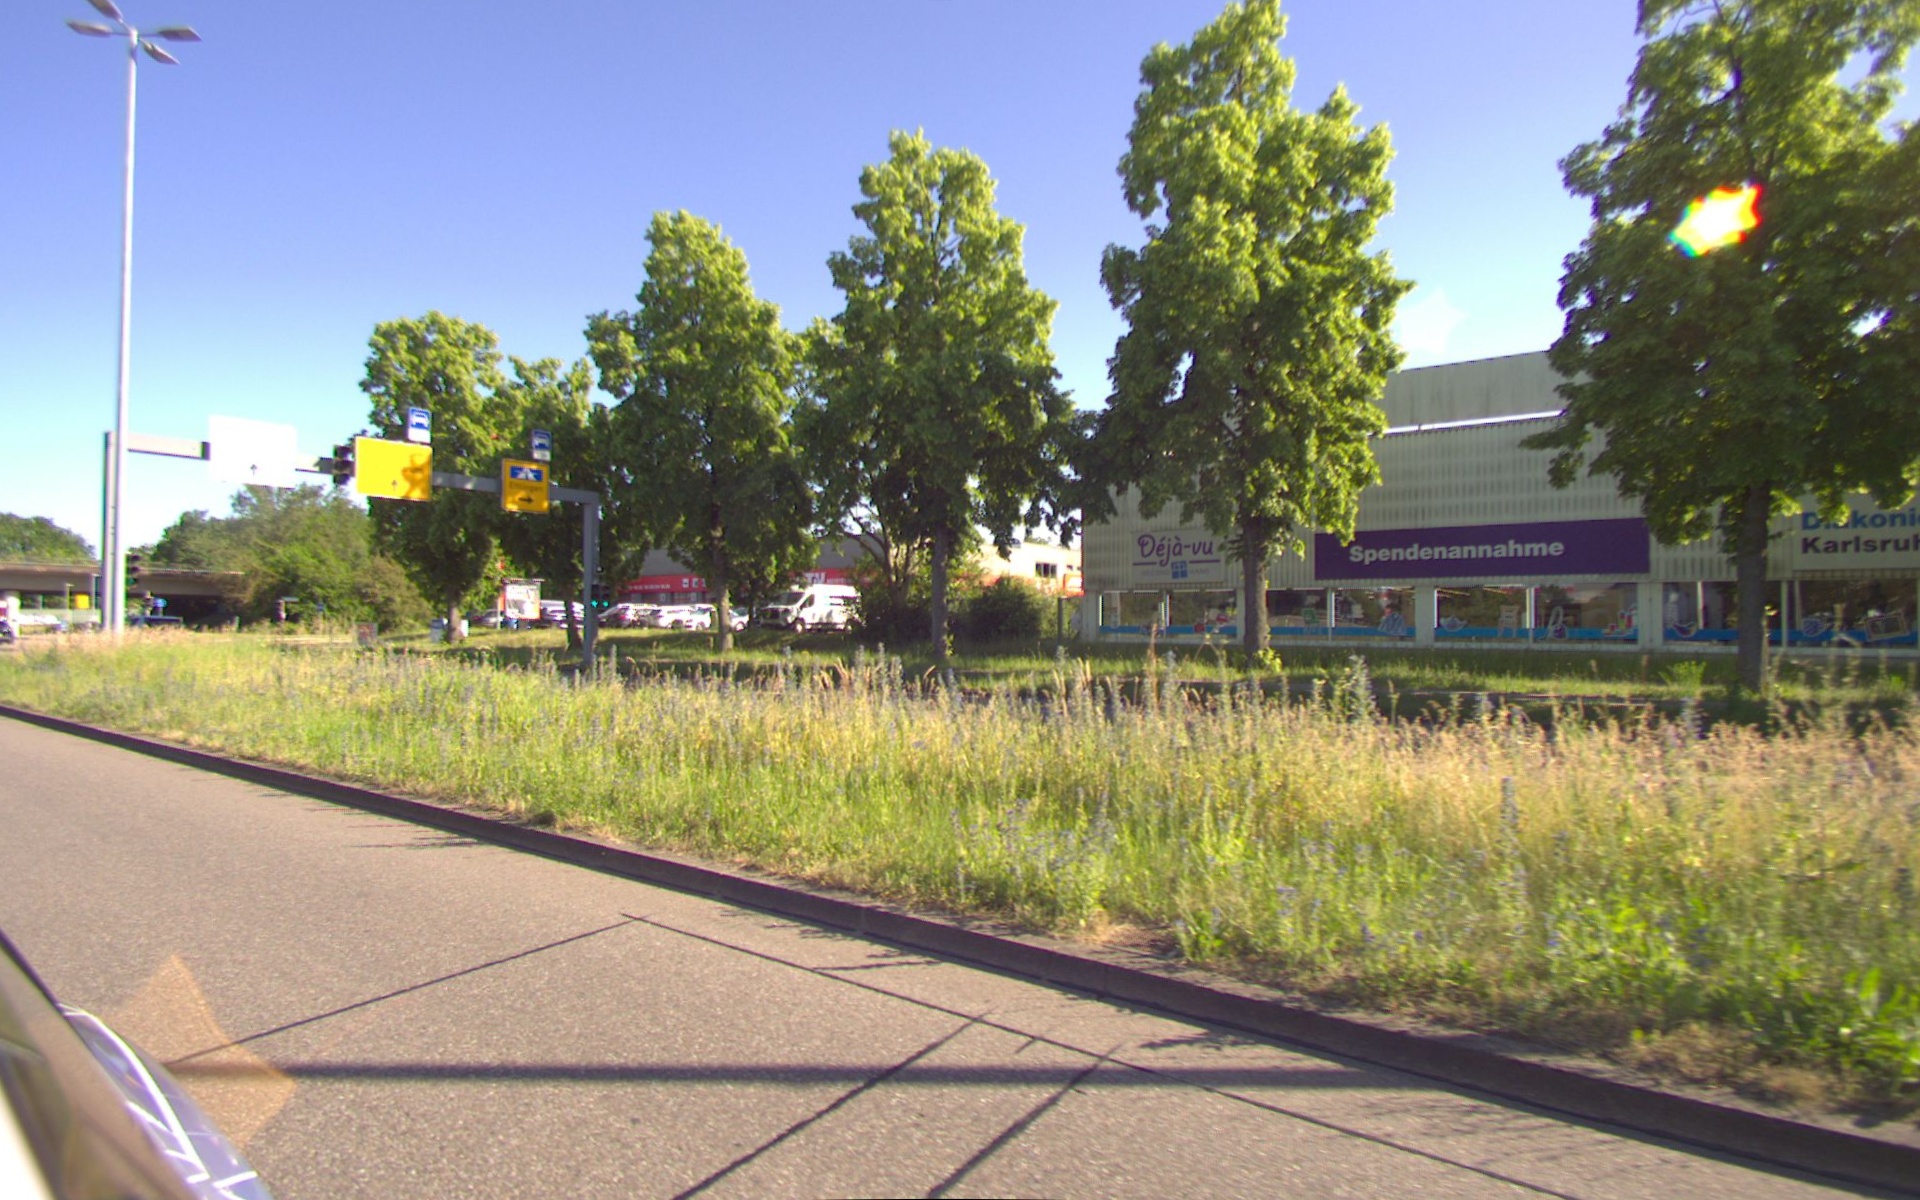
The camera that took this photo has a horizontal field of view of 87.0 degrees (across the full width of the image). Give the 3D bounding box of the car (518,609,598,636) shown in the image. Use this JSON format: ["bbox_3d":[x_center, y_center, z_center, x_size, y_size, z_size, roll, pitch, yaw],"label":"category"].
[{"bbox_3d":[-24.359,1.372,61.355,1.945,1.563,4.077,-1,-2,39],"label":"car"}]

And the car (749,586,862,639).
[{"bbox_3d":[-7.480,0.686,49.730,2.200,2.452,5.830,-1,-2,33],"label":"car"}]

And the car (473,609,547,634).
[{"bbox_3d":[-29.754,1.434,66.946,4.068,1.563,1.898,2,-3,-43],"label":"car"}]

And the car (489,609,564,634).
[{"bbox_3d":[-27.975,1.395,65.363,1.818,1.563,4.074,-1,-3,41],"label":"car"}]

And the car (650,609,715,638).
[{"bbox_3d":[-19.158,1.623,69.727,5.126,1.971,1.761,-1,-3,41],"label":"car"}]

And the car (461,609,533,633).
[{"bbox_3d":[-31.420,1.448,68.741,4.067,1.563,1.898,2,-3,-41],"label":"car"}]

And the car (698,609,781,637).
[{"bbox_3d":[-11.512,1.249,53.008,1.941,1.399,4.085,-1,-2,33],"label":"car"}]

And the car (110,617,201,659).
[{"bbox_3d":[-34.986,1.670,43.983,4.621,1.710,1.924,-1,-4,37],"label":"car"}]

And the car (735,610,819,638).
[{"bbox_3d":[-9.295,1.242,51.623,1.941,1.399,4.085,-1,-2,33],"label":"car"}]

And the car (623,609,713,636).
[{"bbox_3d":[-16.048,1.252,55.835,1.943,1.399,4.577,-1,-2,37],"label":"car"}]

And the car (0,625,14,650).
[{"bbox_3d":[-61.988,2.360,64.388,4.565,1.554,1.858,-1,-4,37],"label":"car"}]

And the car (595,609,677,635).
[{"bbox_3d":[-18.131,1.264,56.860,1.941,1.399,4.084,-1,-2,33],"label":"car"}]

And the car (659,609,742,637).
[{"bbox_3d":[-13.840,1.256,54.145,1.941,1.399,4.085,-1,-2,33],"label":"car"}]

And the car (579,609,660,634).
[{"bbox_3d":[-19.681,1.274,58.623,1.942,1.399,4.082,-1,-2,35],"label":"car"}]

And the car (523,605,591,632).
[{"bbox_3d":[-33.875,1.554,85.039,4.983,2.168,1.892,0,-2,5],"label":"car"}]
